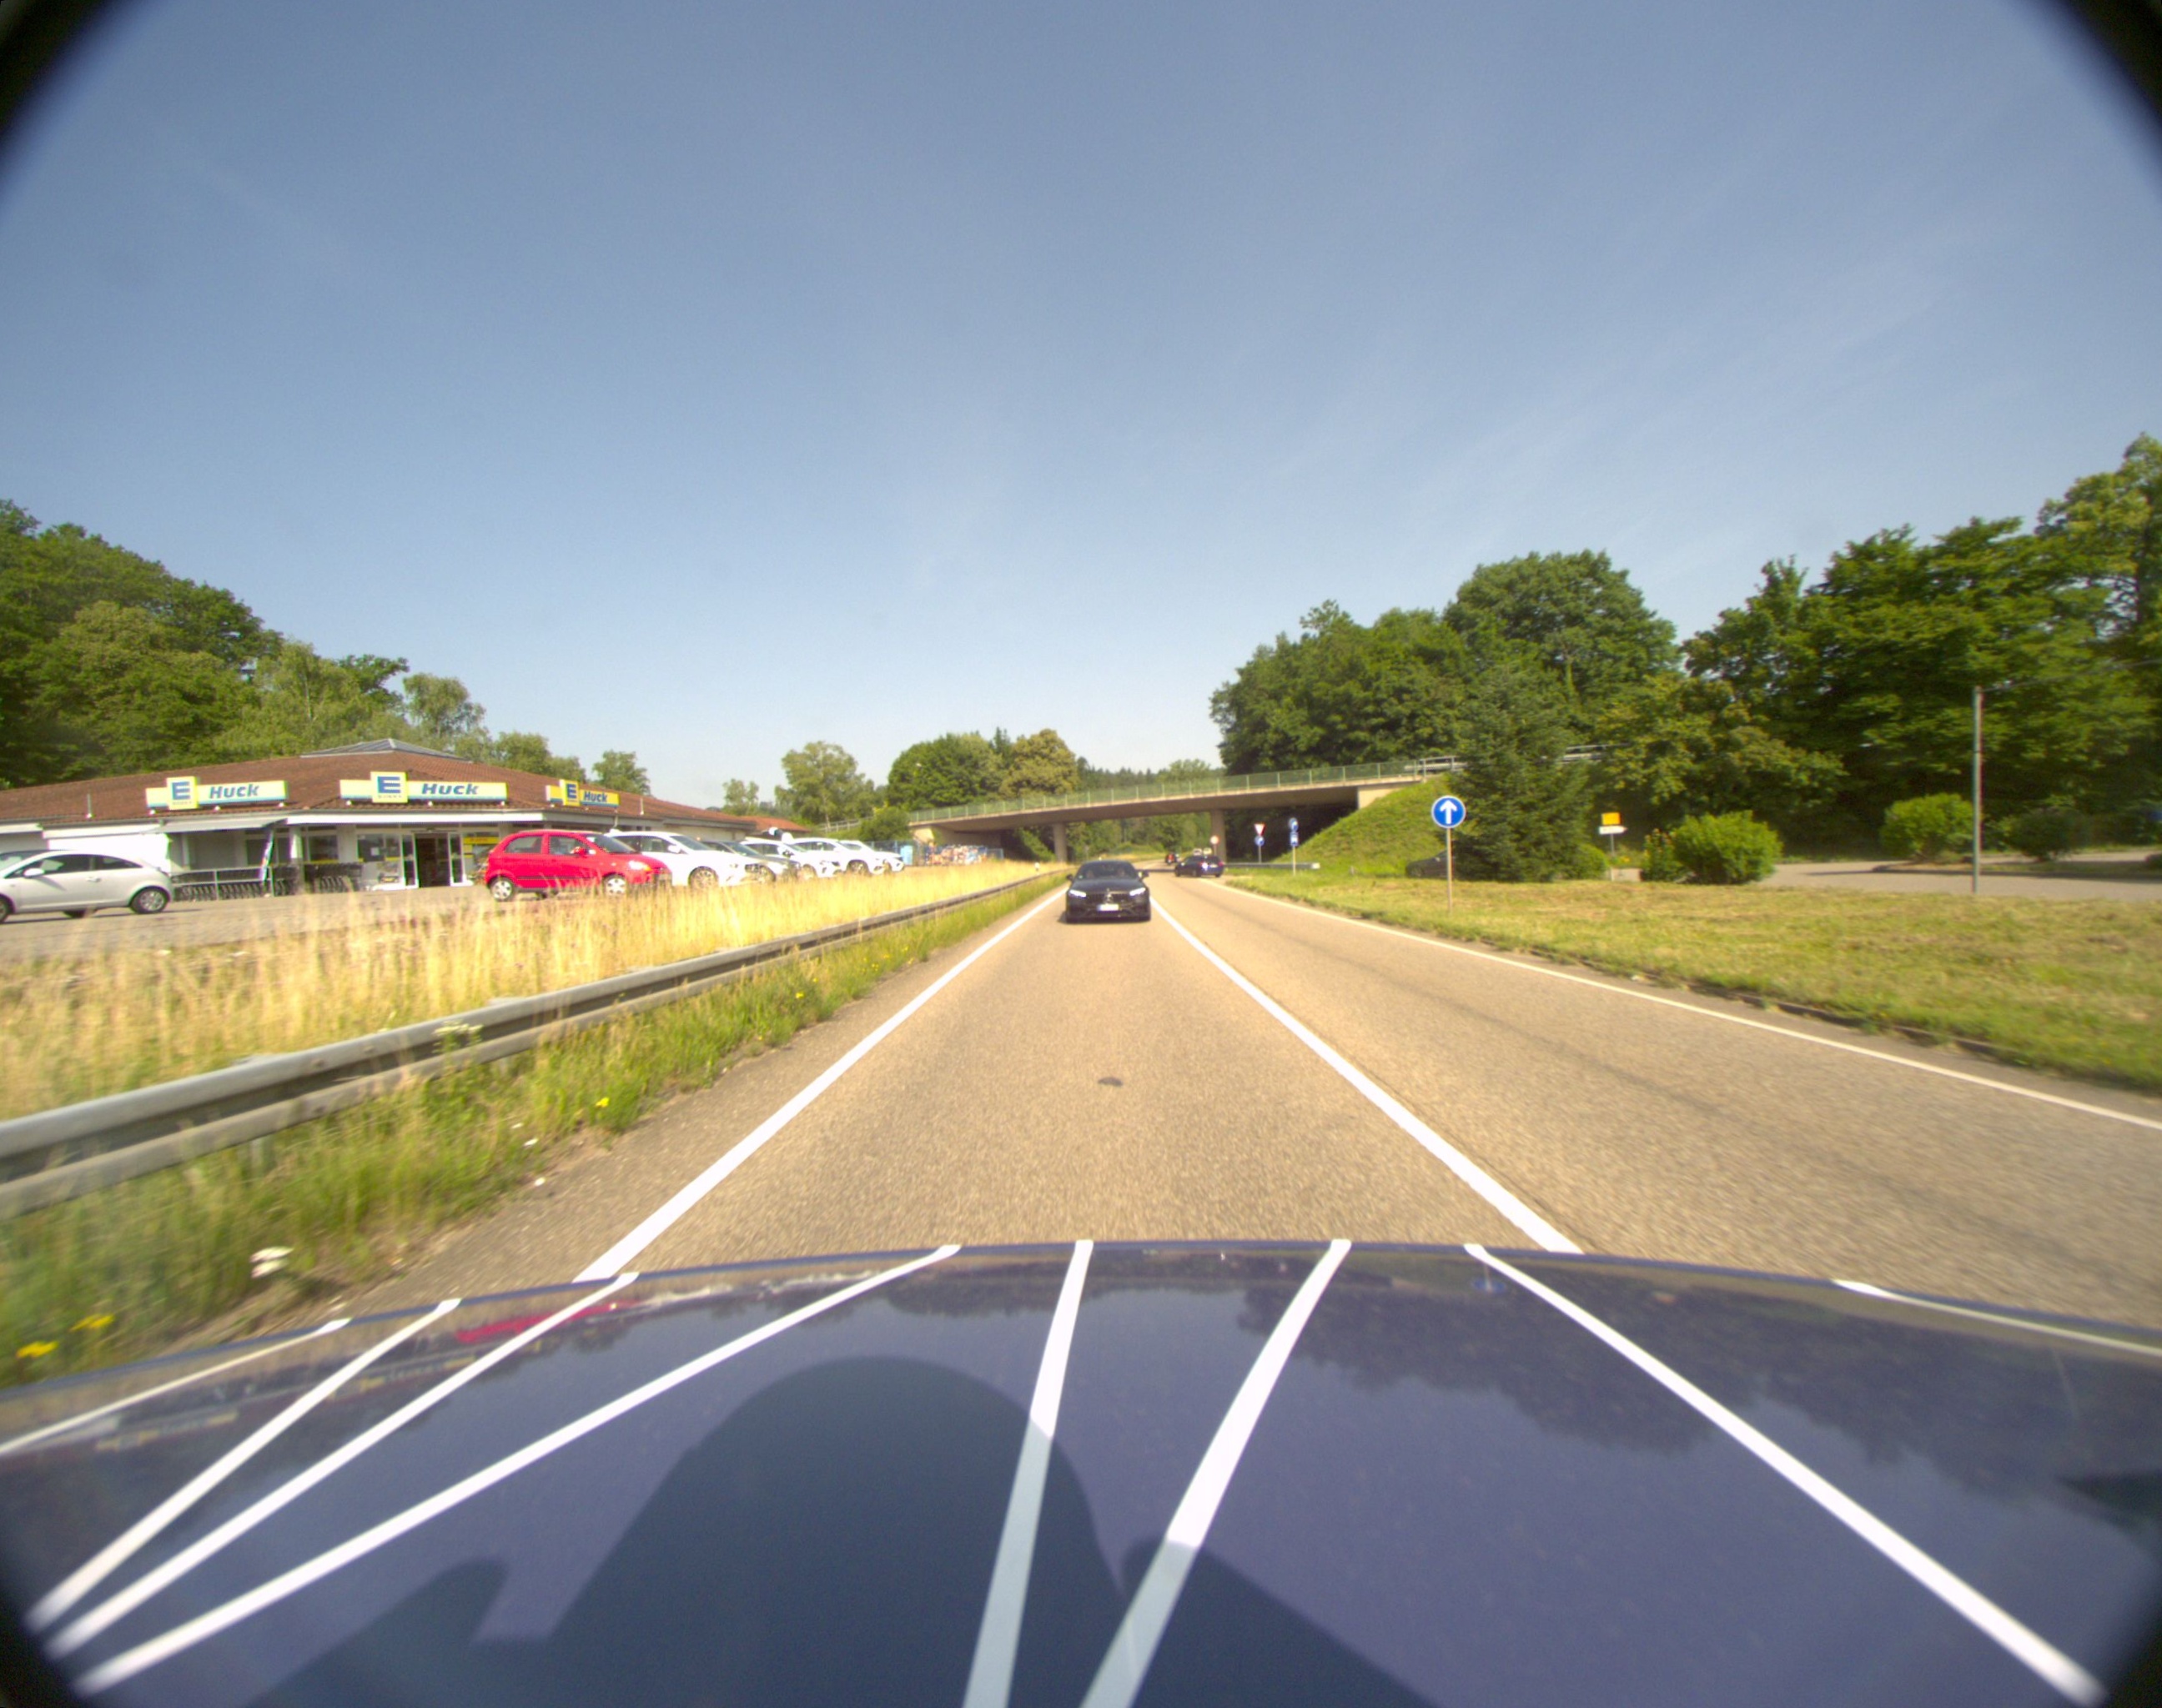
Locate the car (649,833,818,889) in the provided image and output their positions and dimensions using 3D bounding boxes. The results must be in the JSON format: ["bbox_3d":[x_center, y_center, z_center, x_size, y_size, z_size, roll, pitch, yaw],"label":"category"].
[{"bbox_3d":[-9.983,0.192,22.085,3.997,1.456,1.877,-1,1,1],"label":"car"}]

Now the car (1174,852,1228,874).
[{"bbox_3d":[7.701,0.550,49.108,1.685,1.348,3.915,-1,0,-22],"label":"car"}]

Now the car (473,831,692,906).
[{"bbox_3d":[-10.746,0.286,16.573,3.546,1.456,1.805,-1,1,1],"label":"car"}]

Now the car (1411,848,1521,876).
[{"bbox_3d":[17.554,0.363,34.770,1.813,1.165,4.089,-1,0,-39],"label":"car"}]

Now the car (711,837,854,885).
[{"bbox_3d":[-9.928,0.209,25.504,3.997,1.456,1.877,-1,1,1],"label":"car"}]

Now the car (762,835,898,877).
[{"bbox_3d":[-9.607,0.063,29.353,4.572,1.456,1.877,-1,1,1],"label":"car"}]

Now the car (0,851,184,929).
[{"bbox_3d":[-21.204,0.696,15.180,1.804,1.456,3.990,-1,1,0],"label":"car"}]

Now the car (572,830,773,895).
[{"bbox_3d":[-10.144,0.198,19.100,3.997,1.456,1.877,-1,1,1],"label":"car"}]

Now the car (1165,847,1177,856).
[{"bbox_3d":[13.851,-0.439,116.791,1.681,1.348,3.923,-1,0,4],"label":"car"}]

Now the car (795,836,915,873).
[{"bbox_3d":[-9.715,0.024,32.888,4.572,1.456,1.877,-1,1,1],"label":"car"}]

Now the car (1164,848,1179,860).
[{"bbox_3d":[10.873,-0.042,91.468,1.681,1.348,3.923,-1,0,4],"label":"car"}]

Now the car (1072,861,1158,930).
[{"bbox_3d":[0.711,0.924,18.603,1.716,1.382,4.146,-2,0,-2],"label":"car"}]
